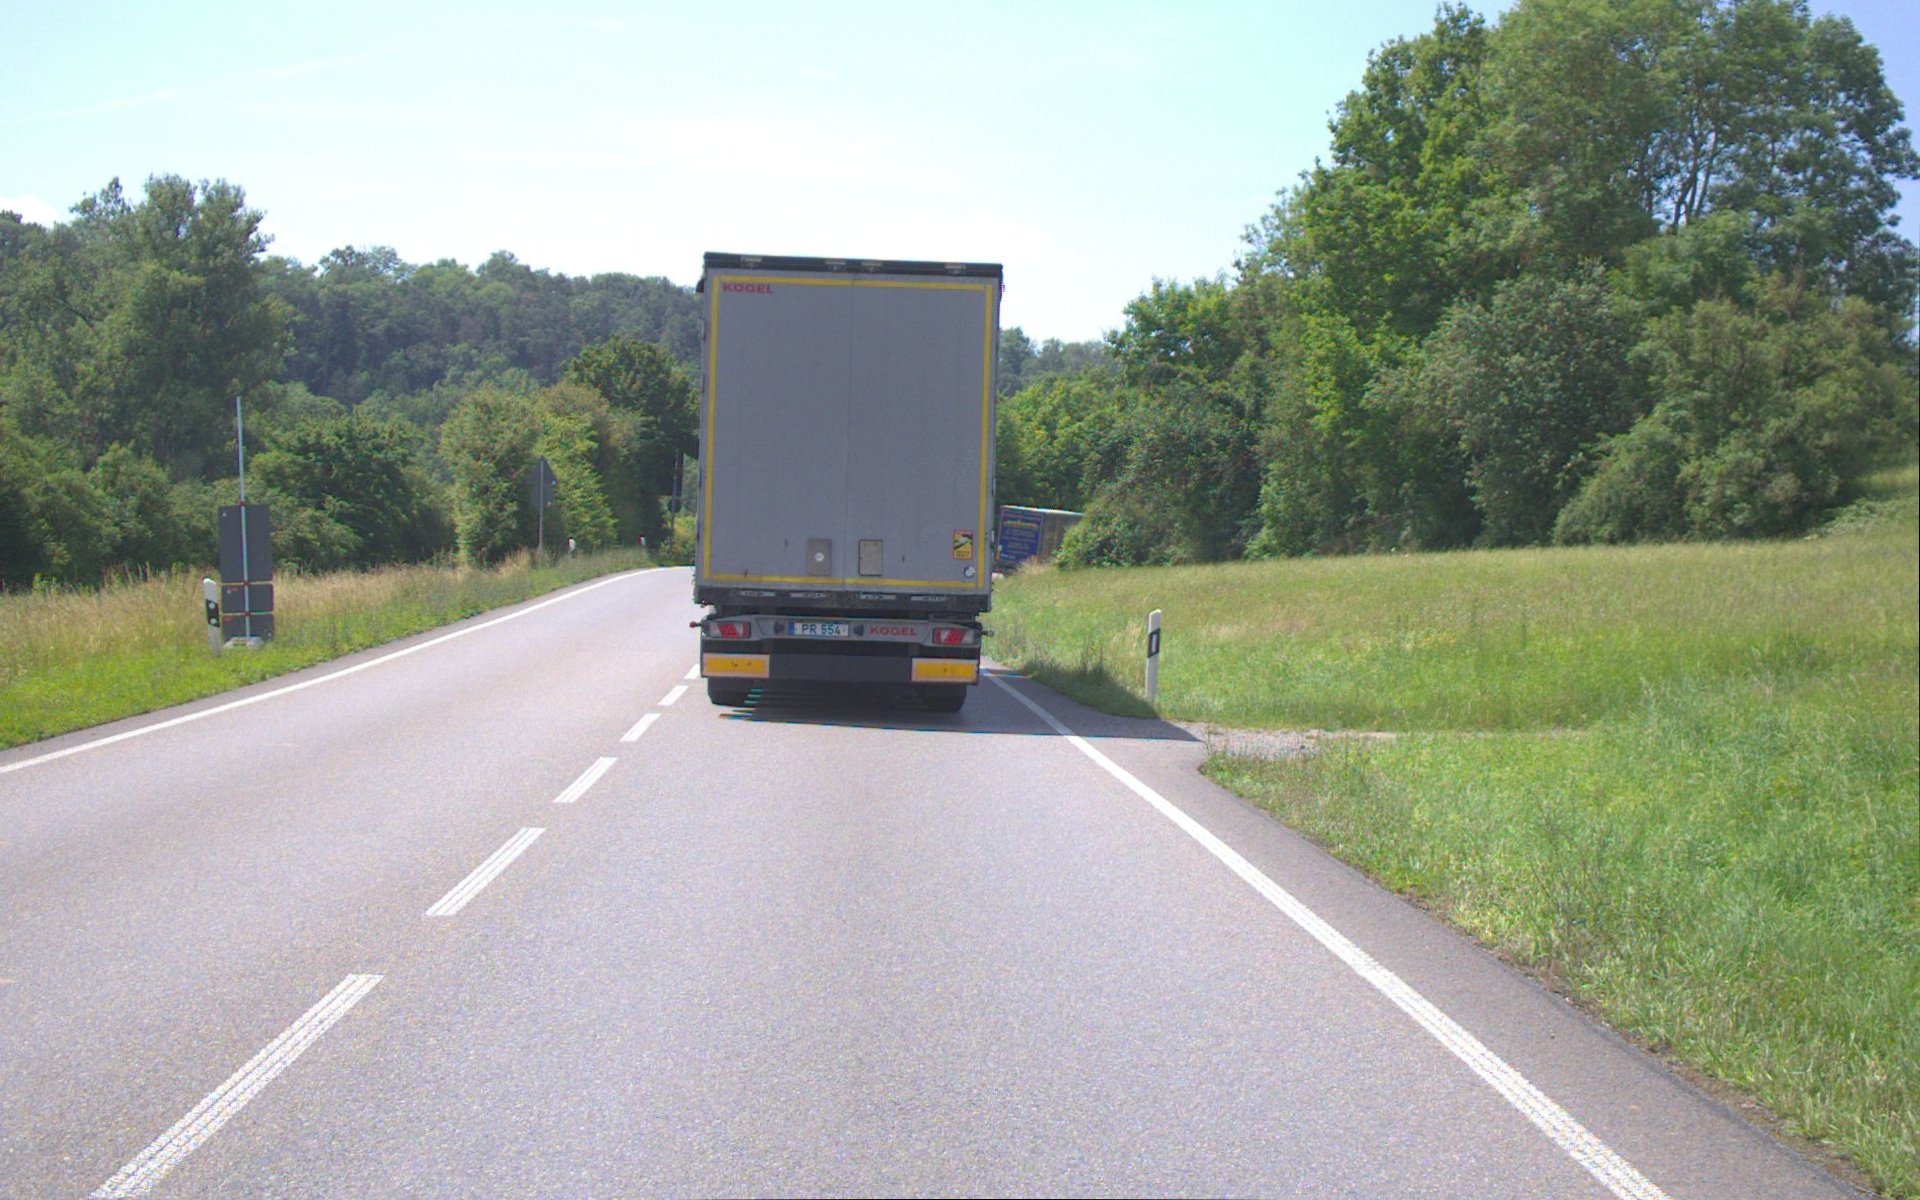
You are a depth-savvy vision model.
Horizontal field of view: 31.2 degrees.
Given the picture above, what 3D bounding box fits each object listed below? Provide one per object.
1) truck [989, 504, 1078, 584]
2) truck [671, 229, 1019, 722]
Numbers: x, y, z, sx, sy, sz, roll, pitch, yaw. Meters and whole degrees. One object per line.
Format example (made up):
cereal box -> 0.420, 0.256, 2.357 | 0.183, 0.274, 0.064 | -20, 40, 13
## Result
truck -> 4.281, -3.126, 196.472 | 3.305, 4.371, 13.406 | 0, 0, 9
truck -> -1.255, -1.130, 36.540 | 2.801, 4.055, 15.327 | 2, 1, -2
